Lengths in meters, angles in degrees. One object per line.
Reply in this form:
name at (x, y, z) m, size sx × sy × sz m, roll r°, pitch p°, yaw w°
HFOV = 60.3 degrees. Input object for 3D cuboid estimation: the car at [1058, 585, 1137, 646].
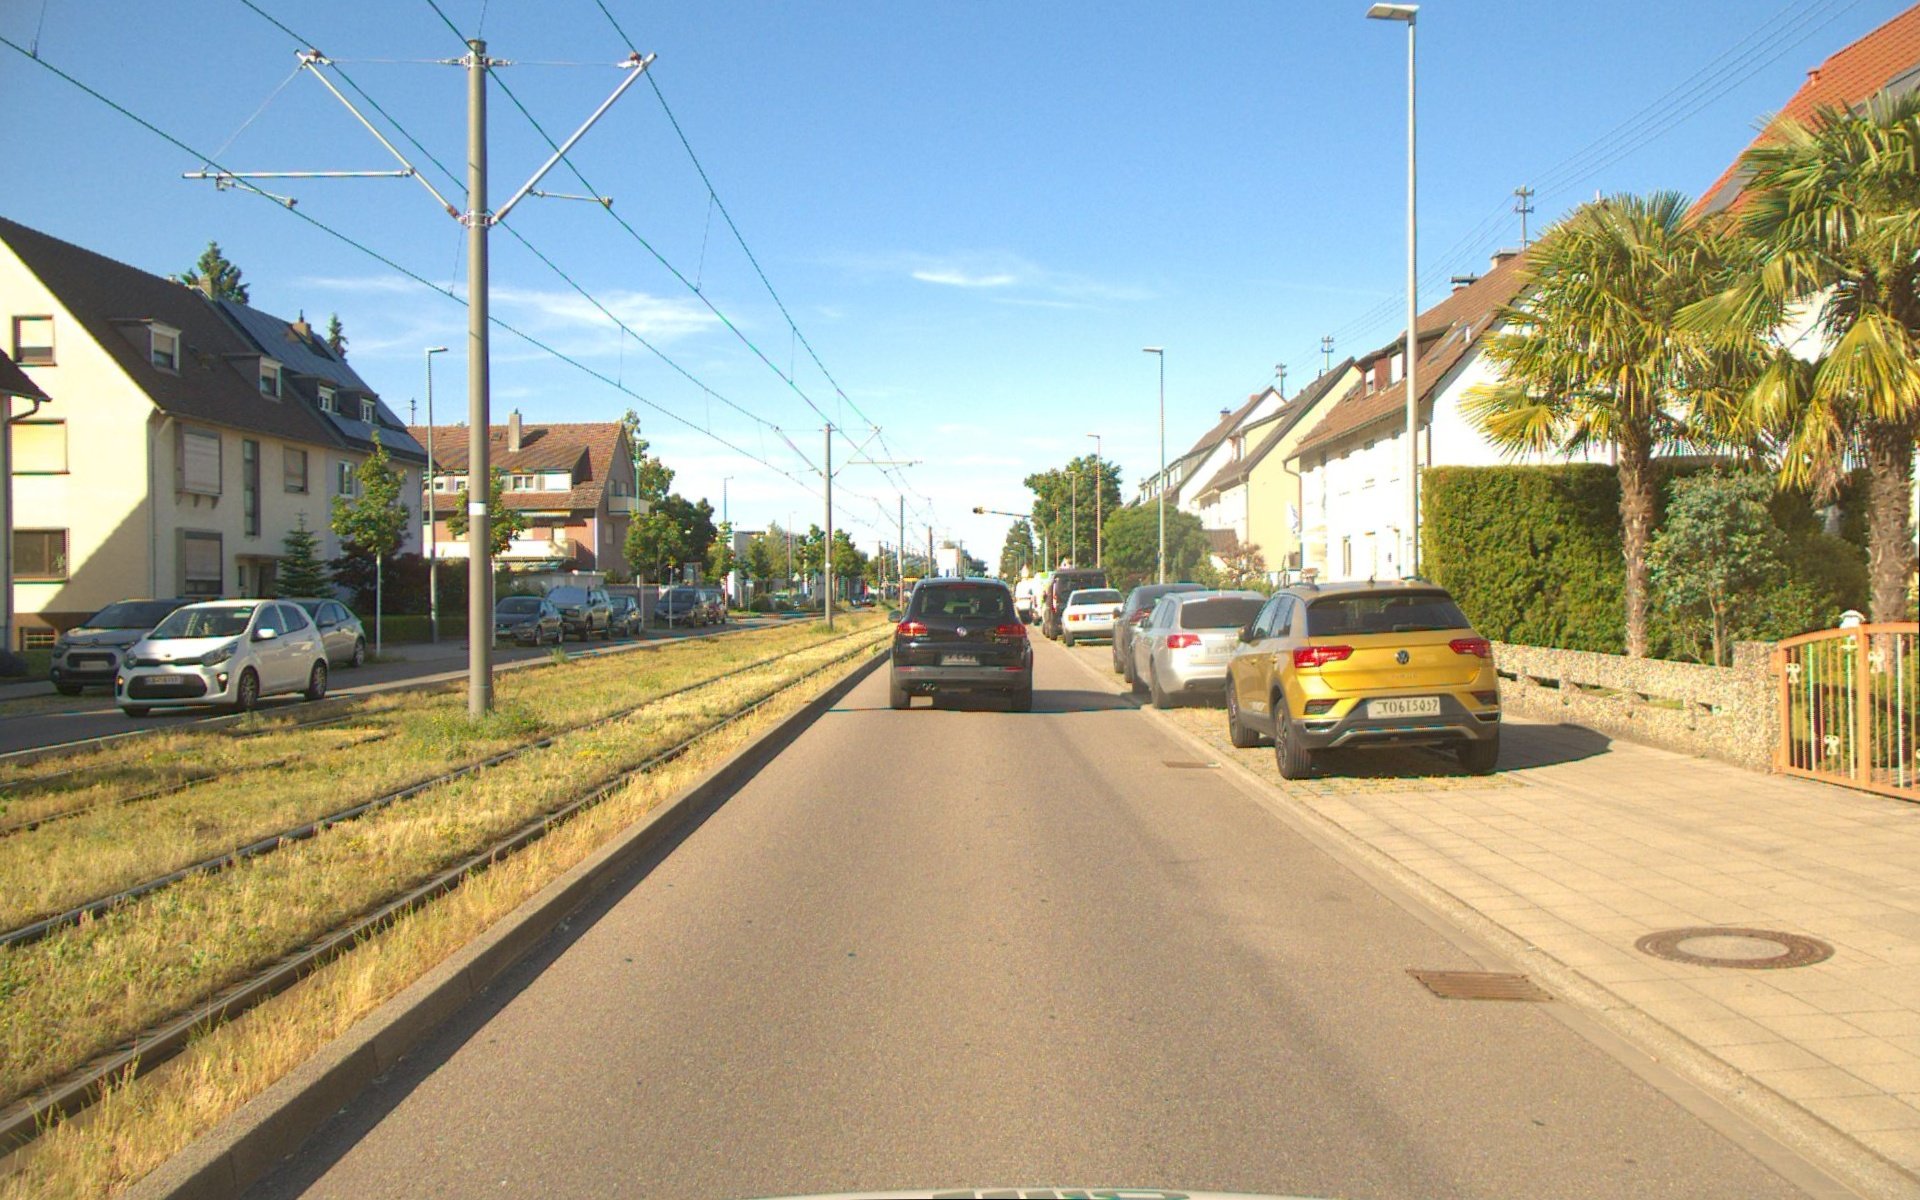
car at (3.666, 0.364, 44.968) m, size 1.814 × 1.469 × 5.615 m, roll -3°, pitch 0°, yaw 2°

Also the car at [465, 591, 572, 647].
car at (-13.178, 0.551, 49.681) m, size 1.920 × 1.567 × 4.557 m, roll 1°, pitch 0°, yaw 1°

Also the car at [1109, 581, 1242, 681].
car at (3.550, 0.455, 27.996) m, size 1.740 × 1.525 × 4.729 m, roll -1°, pitch 0°, yaw 2°

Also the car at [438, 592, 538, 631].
car at (-18.914, 0.443, 66.338) m, size 3.560 × 1.487 × 1.690 m, roll 1°, pitch 0°, yaw -4°

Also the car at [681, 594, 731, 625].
car at (-12.378, 0.453, 80.743) m, size 1.660 × 1.429 × 4.079 m, roll -1°, pitch 0°, yaw 2°

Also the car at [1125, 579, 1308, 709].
car at (3.335, 0.498, 22.372) m, size 1.712 × 1.472 × 4.699 m, roll -2°, pitch 1°, yaw 0°

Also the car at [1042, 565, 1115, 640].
car at (3.638, 0.068, 51.791) m, size 1.919 × 2.181 × 5.336 m, roll -2°, pitch 0°, yaw 1°

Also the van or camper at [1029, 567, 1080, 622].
van or camper at (4.196, -0.229, 74.260) m, size 1.952 × 2.310 × 6.305 m, roll -2°, pitch 0°, yaw 1°

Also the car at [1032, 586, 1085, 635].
car at (3.539, 0.364, 59.827) m, size 1.690 × 1.674 × 4.319 m, roll -2°, pitch 0°, yaw 1°

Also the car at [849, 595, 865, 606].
car at (-13.925, 0.120, 223.996) m, size 1.653 × 1.413 × 4.389 m, roll -2°, pitch 0°, yaw 3°

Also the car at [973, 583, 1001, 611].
car at (1.845, -0.198, 113.732) m, size 1.595 × 1.860 × 4.128 m, roll -1°, pitch 0°, yaw -3°

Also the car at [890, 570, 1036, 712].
car at (0.014, 0.494, 21.977) m, size 1.739 × 1.699 × 3.999 m, roll 1°, pitch 0°, yaw -1°

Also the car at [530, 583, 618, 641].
car at (-12.928, 0.376, 55.721) m, size 1.709 × 1.855 × 4.842 m, roll 1°, pitch 0°, yaw 1°

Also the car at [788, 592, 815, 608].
car at (-15.385, -0.030, 160.767) m, size 1.772 × 1.486 × 4.320 m, roll 1°, pitch 0°, yaw 5°

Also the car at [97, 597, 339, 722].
car at (-10.051, 0.746, 22.703) m, size 1.654 × 1.501 × 3.679 m, roll -3°, pitch 0°, yaw -1°

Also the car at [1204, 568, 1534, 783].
car at (3.491, 0.570, 15.114) m, size 1.768 × 1.586 × 4.926 m, roll -2°, pitch 0°, yaw 0°

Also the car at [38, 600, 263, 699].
car at (-13.336, 0.764, 27.539) m, size 1.654 × 1.498 × 4.314 m, roll 1°, pitch 0°, yaw -1°

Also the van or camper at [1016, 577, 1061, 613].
van or camper at (4.537, -0.301, 94.927) m, size 1.984 × 1.990 × 5.299 m, roll -1°, pitch 0°, yaw 9°

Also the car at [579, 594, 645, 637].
car at (-12.957, 0.552, 61.786) m, size 1.642 × 1.517 × 4.049 m, roll 1°, pitch 0°, yaw -1°

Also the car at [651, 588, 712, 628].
car at (-12.555, 0.349, 74.776) m, size 1.782 × 1.714 × 4.847 m, roll 1°, pitch 0°, yaw 1°

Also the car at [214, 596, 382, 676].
car at (-13.303, 0.678, 33.537) m, size 1.654 × 1.501 × 4.442 m, roll 1°, pitch 0°, yaw -1°
